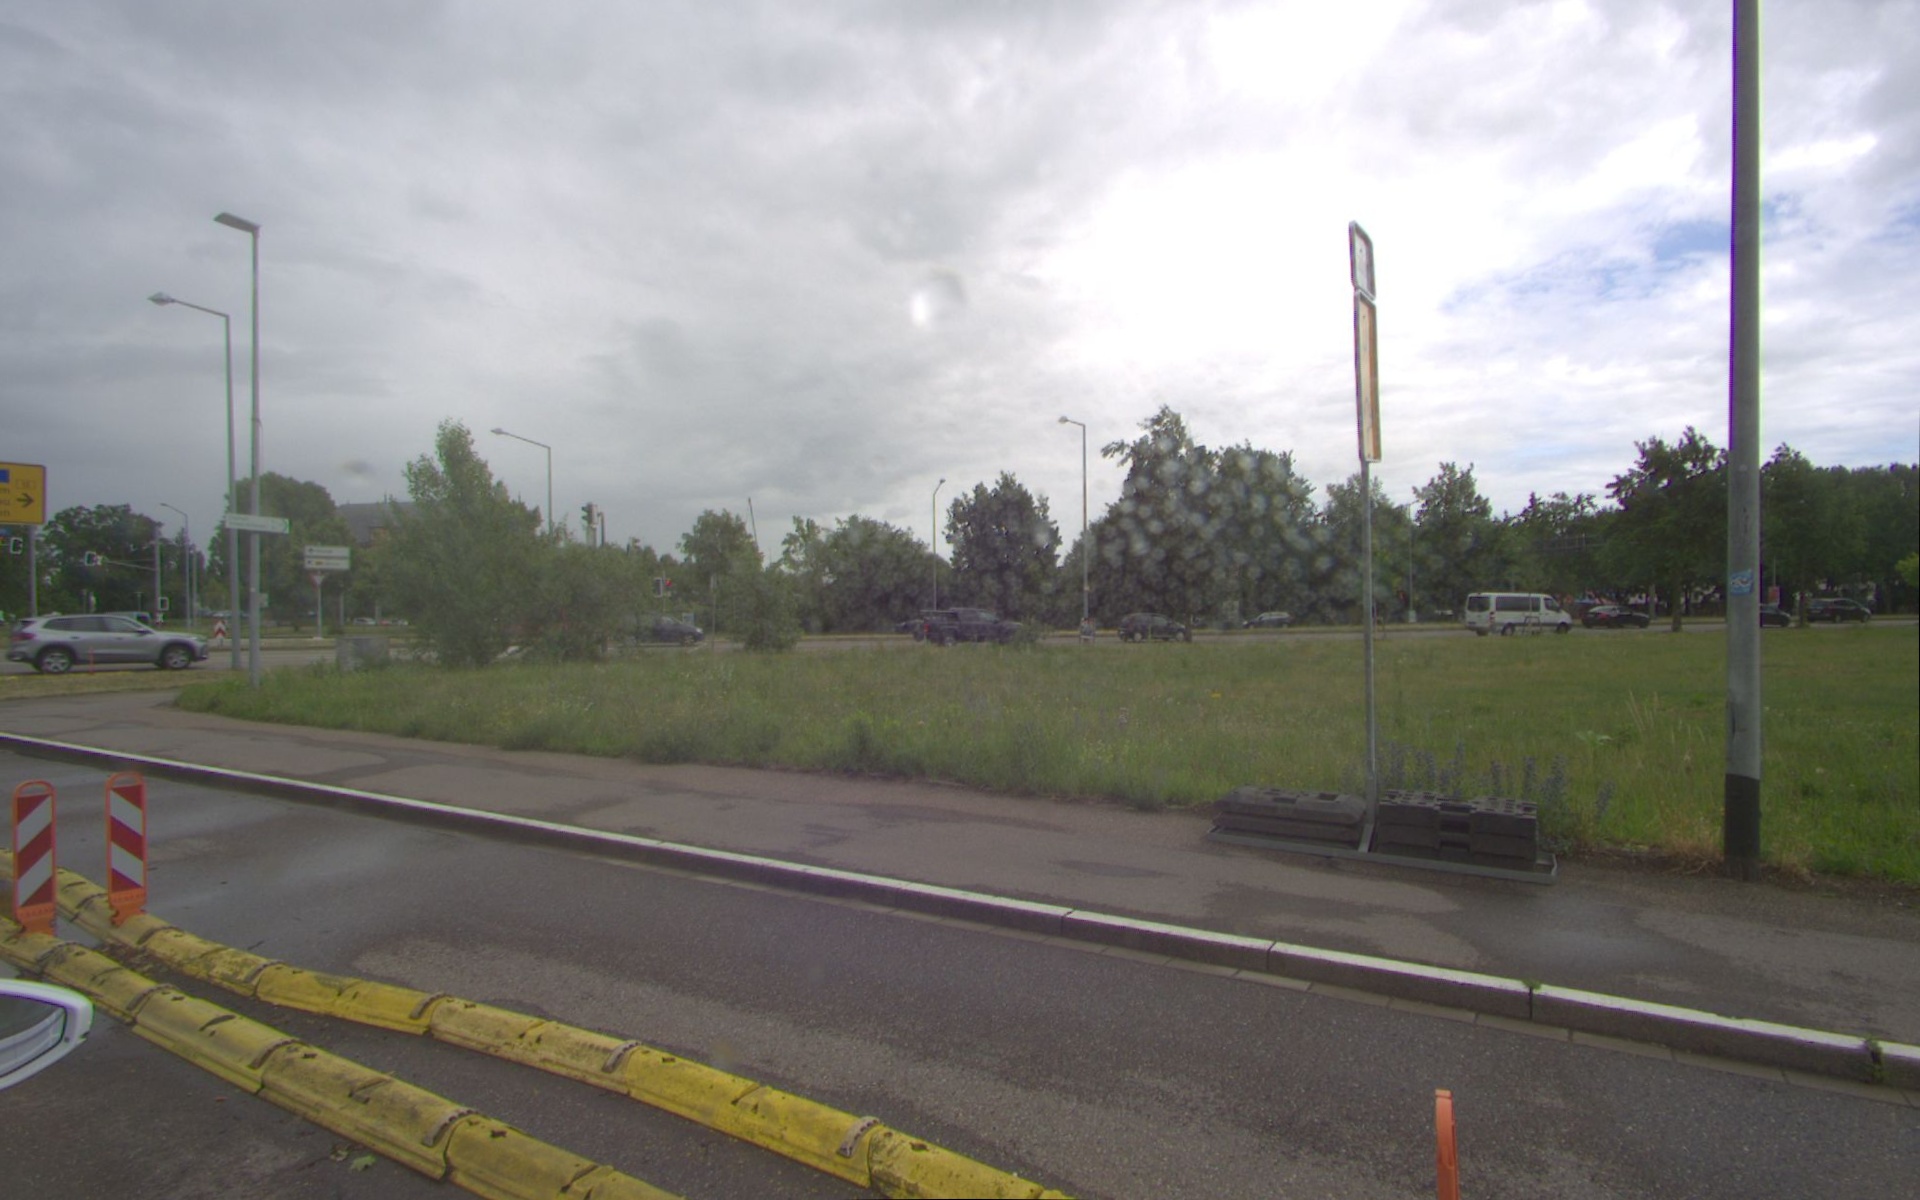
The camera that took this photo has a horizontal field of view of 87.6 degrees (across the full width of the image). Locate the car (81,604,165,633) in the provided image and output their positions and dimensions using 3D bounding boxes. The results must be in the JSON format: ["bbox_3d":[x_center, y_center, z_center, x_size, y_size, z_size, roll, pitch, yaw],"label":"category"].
[{"bbox_3d":[-59.613,1.300,71.337,4.391,2.040,2.000,0,0,4],"label":"car"}]

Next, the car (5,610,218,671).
[{"bbox_3d":[-24.614,1.110,29.186,1.976,1.604,4.496,0,0,40],"label":"car"}]

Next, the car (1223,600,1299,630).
[{"bbox_3d":[21.434,1.041,71.349,4.849,2.040,1.998,0,0,-12],"label":"car"}]

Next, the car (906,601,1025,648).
[{"bbox_3d":[0.251,1.081,45.525,4.957,1.998,2.218,0,0,-21],"label":"car"}]

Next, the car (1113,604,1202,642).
[{"bbox_3d":[9.951,1.135,50.629,3.927,1.873,1.997,0,0,-14],"label":"car"}]

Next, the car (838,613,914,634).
[{"bbox_3d":[-5.362,1.475,63.794,4.667,1.314,1.998,0,0,-12],"label":"car"}]

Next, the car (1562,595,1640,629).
[{"bbox_3d":[39.803,0.742,62.179,3.928,2.040,1.997,0,0,-15],"label":"car"}]

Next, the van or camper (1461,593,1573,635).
[{"bbox_3d":[29.932,0.733,53.824,5.453,2.143,1.997,0,0,-16],"label":"van or camper"}]

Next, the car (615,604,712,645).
[{"bbox_3d":[-13.934,1.113,47.048,4.142,1.837,2.070,0,0,-26],"label":"car"}]

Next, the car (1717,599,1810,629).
[{"bbox_3d":[50.347,0.877,62.773,4.522,1.819,2.114,0,0,-11],"label":"car"}]

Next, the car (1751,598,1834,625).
[{"bbox_3d":[56.769,0.789,68.280,4.525,1.819,2.112,0,0,-15],"label":"car"}]
